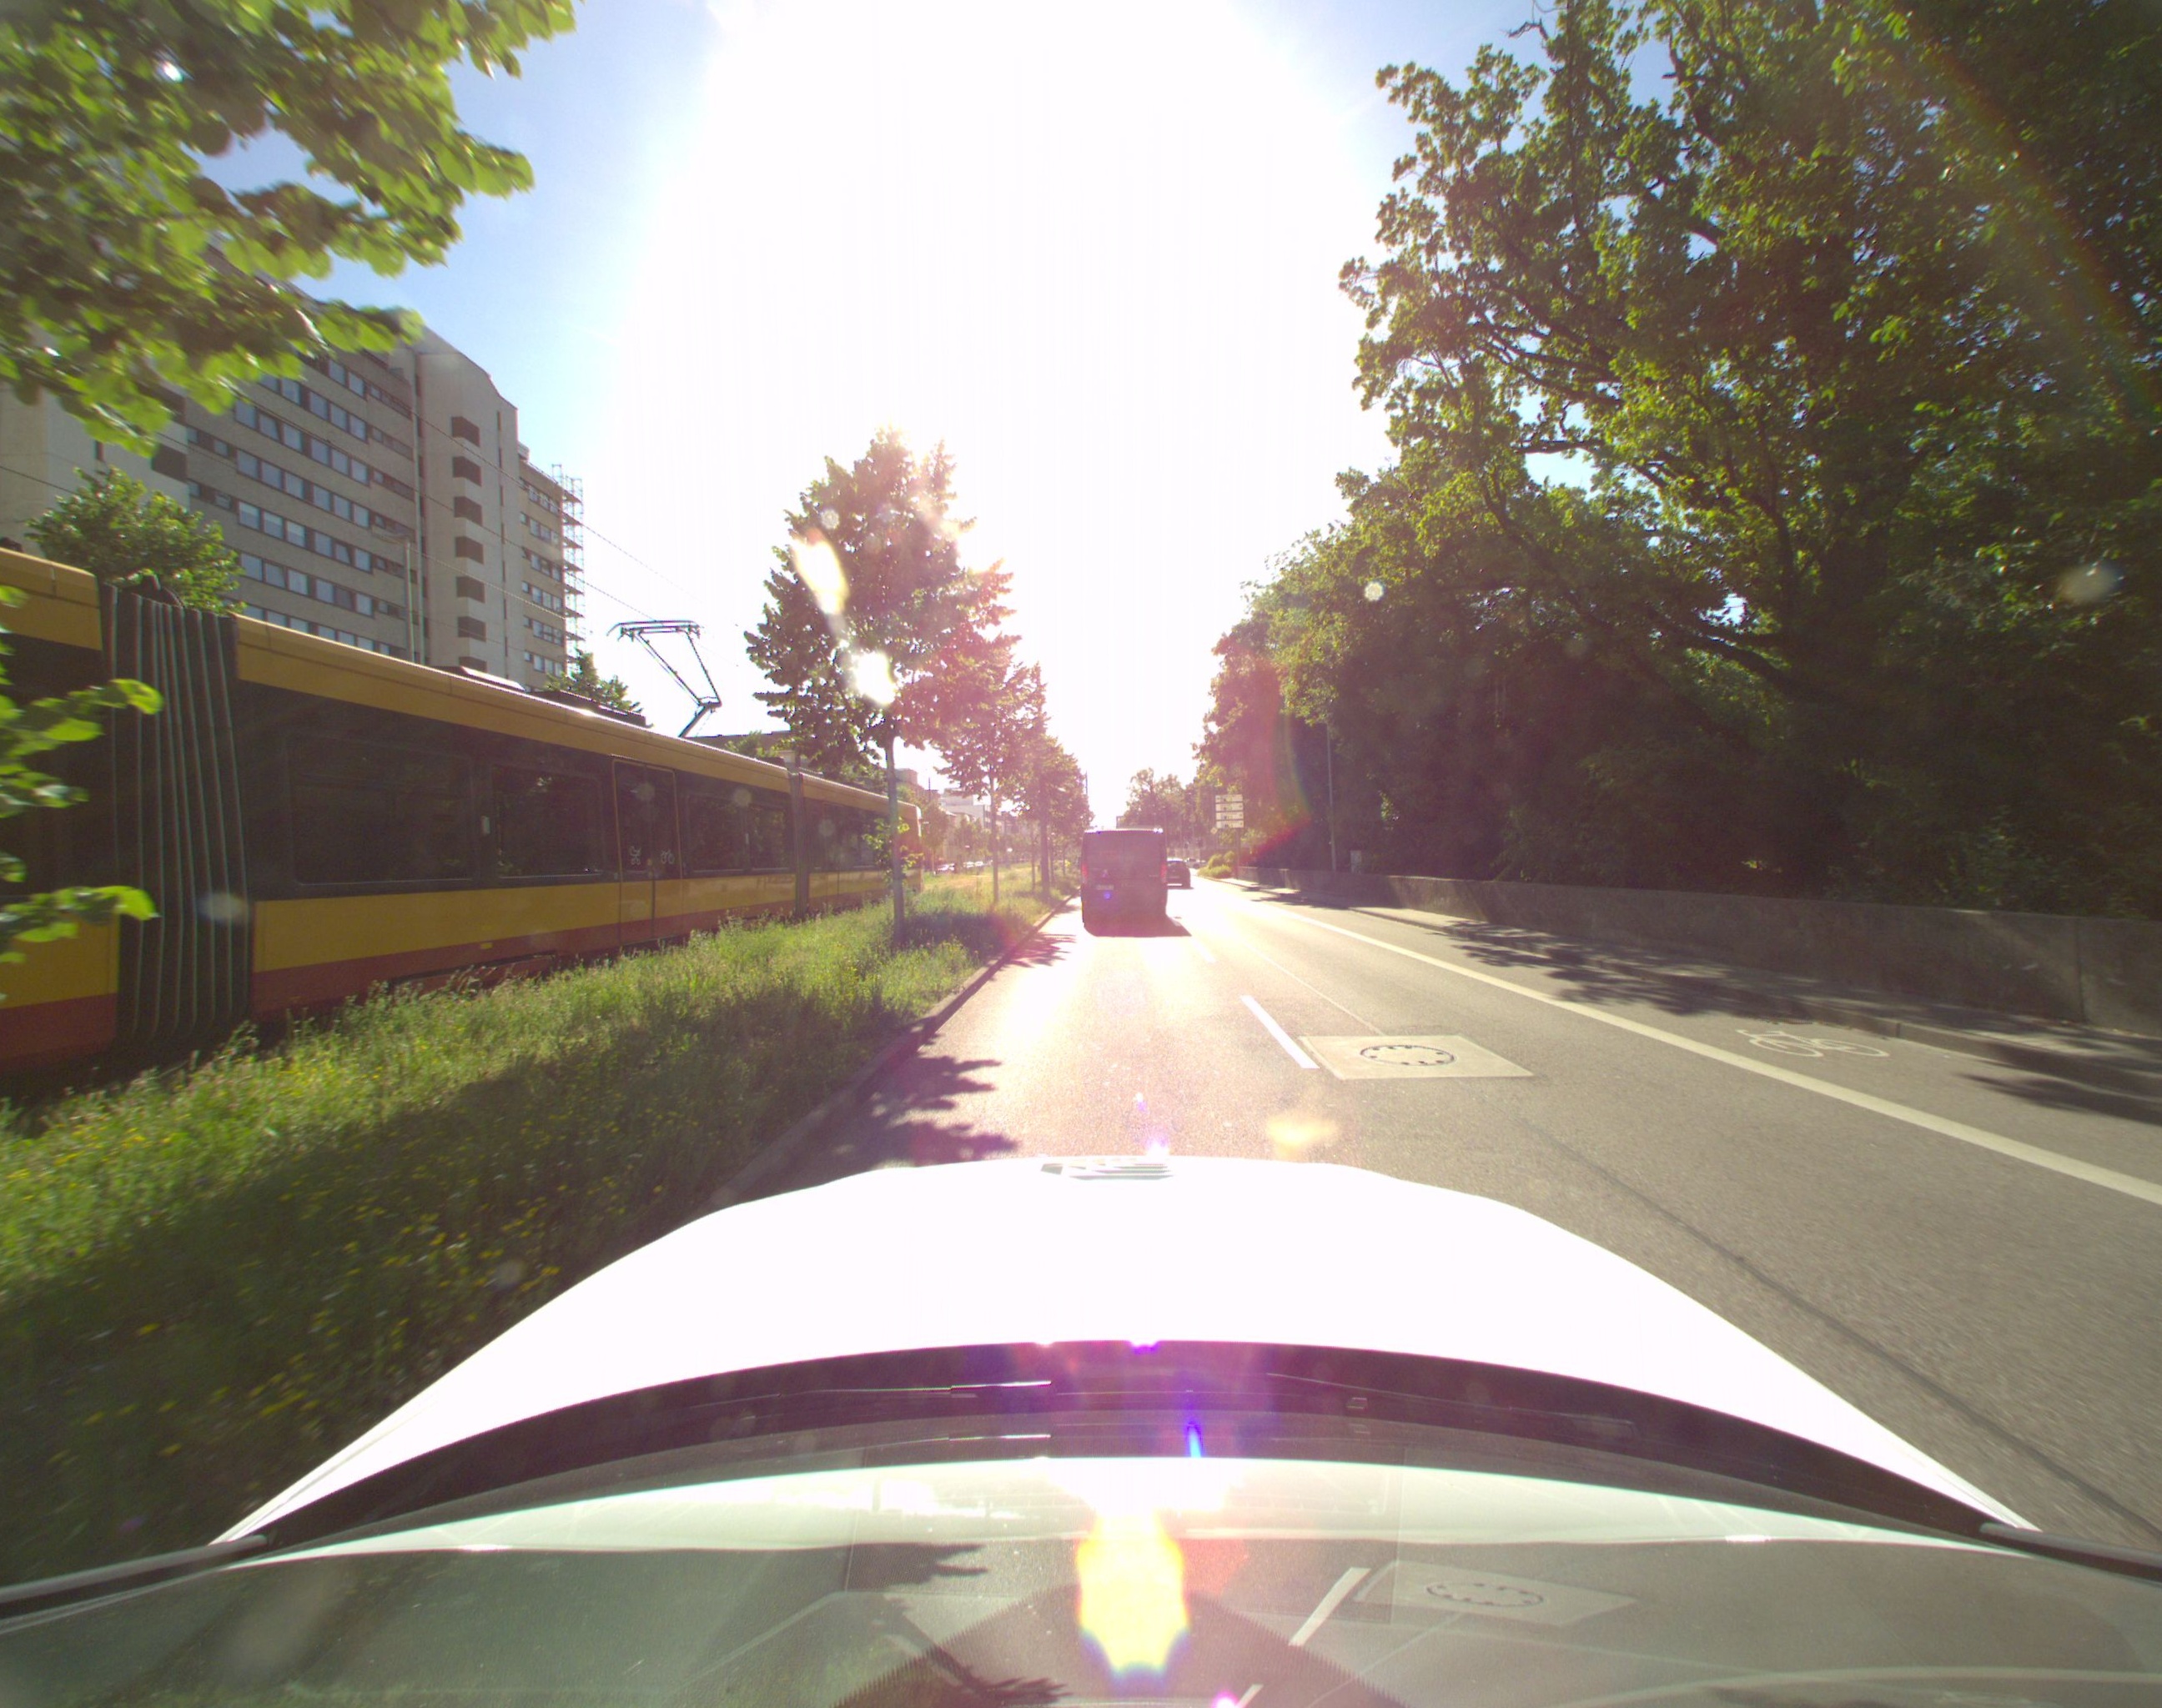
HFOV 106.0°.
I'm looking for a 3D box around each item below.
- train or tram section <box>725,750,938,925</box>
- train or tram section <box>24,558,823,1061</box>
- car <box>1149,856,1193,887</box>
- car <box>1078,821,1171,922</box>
[{"bbox_3d":[-6.324,-0.317,23.135,1.986,3.669,11.689,-1,0,2],"label":"train or tram section"},{"bbox_3d":[-6.644,-0.299,11.653,1.986,3.669,11.319,-1,0,2],"label":"train or tram section"},{"bbox_3d":[4.529,0.849,41.324,1.757,1.462,3.999,-1,0,0],"label":"car"},{"bbox_3d":[1.030,0.410,20.493,2.074,2.249,4.001,-1,0,1],"label":"car"}]
